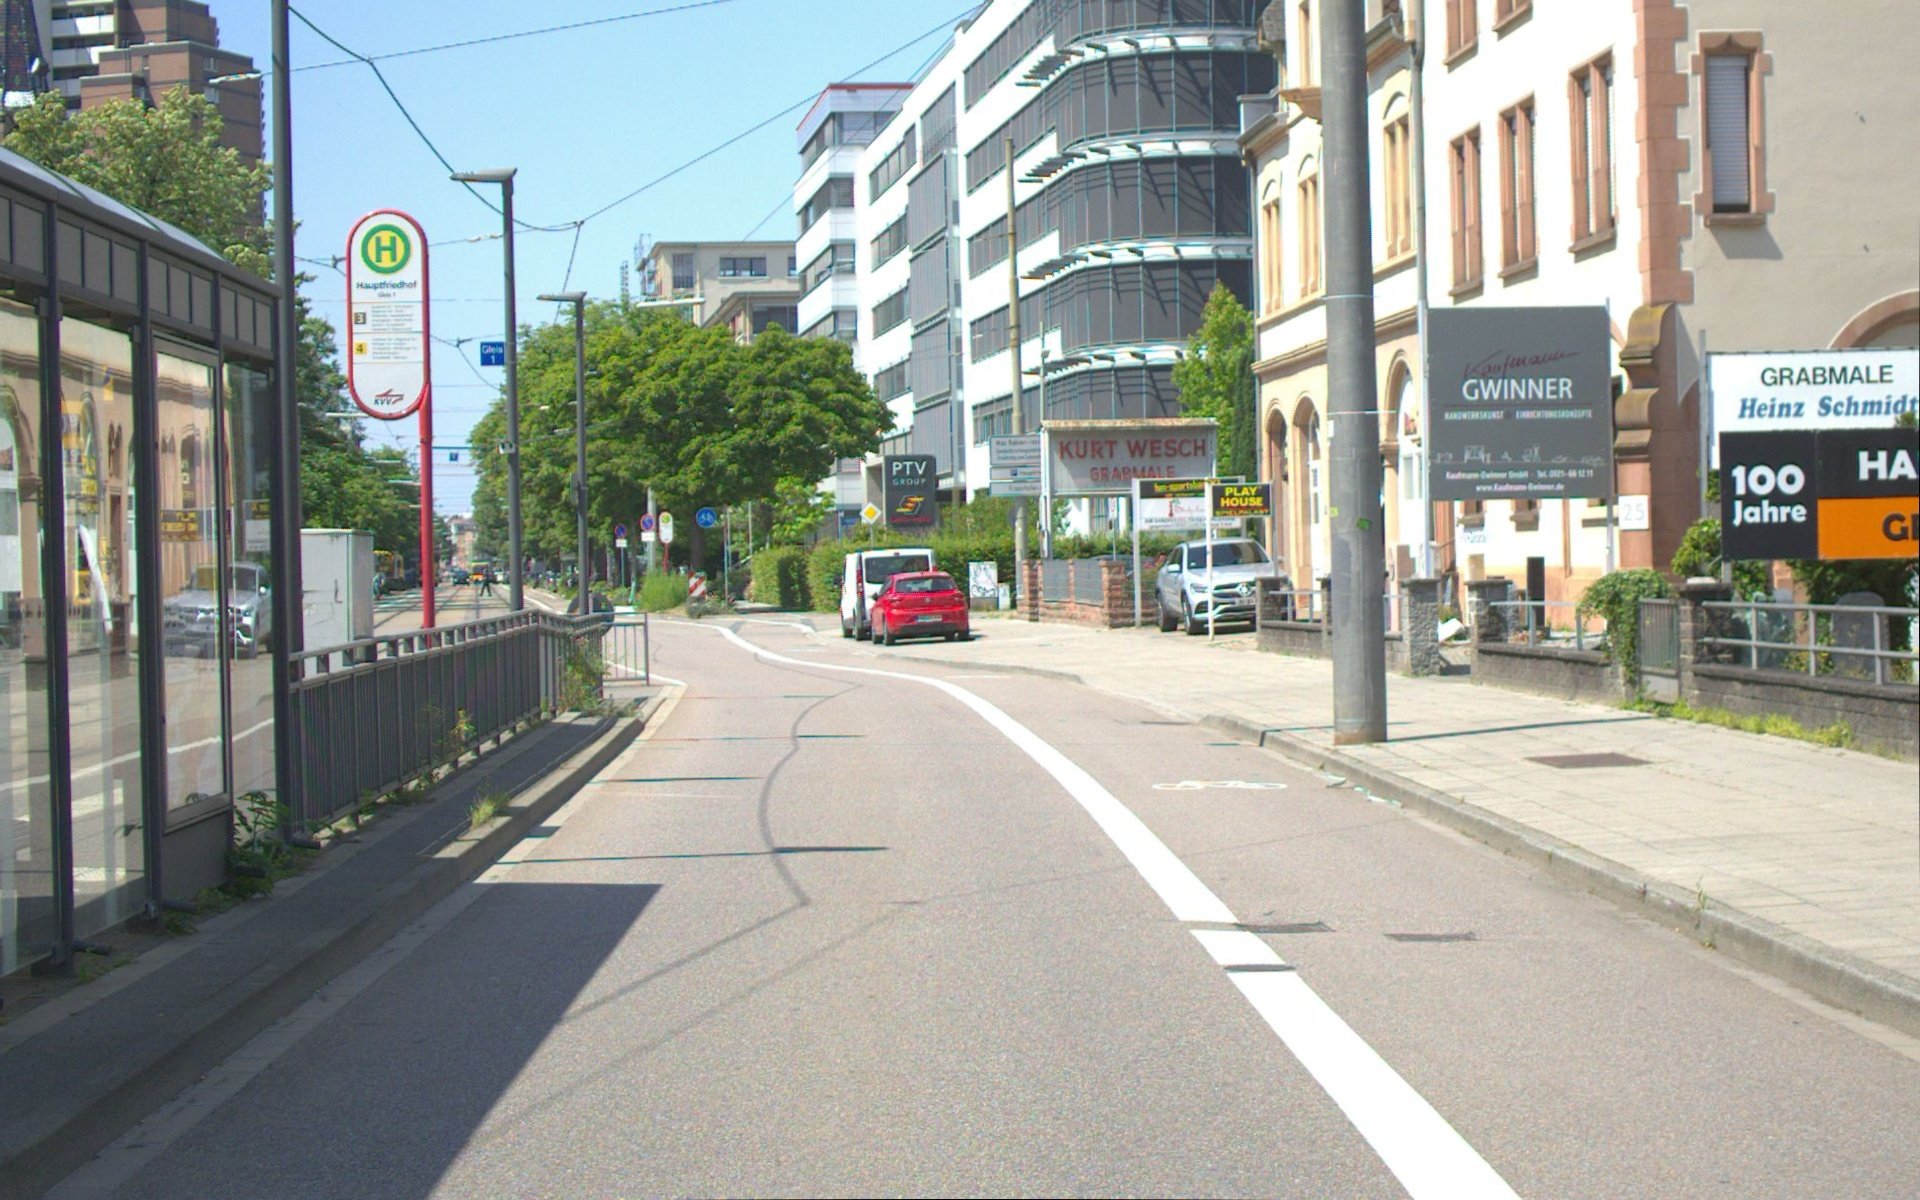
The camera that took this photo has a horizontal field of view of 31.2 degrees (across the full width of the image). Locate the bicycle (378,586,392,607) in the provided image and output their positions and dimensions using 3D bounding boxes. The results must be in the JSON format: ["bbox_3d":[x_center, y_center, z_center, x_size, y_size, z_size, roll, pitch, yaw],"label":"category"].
[{"bbox_3d":[-34.735,-0.210,207.670,0.701,1.200,2.241,-3,1,-8],"label":"bicycle"}]

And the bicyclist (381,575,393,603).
[{"bbox_3d":[-34.616,-0.652,207.595,0.642,1.674,0.815,-1,0,-9],"label":"bicyclist"}]

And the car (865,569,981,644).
[{"bbox_3d":[-0.788,0.114,70.533,1.993,1.437,4.017,-1,1,-6],"label":"car"}]

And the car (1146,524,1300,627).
[{"bbox_3d":[4.568,-0.429,60.444,1.878,1.619,4.640,-4,1,-5],"label":"car"}]

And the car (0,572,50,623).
[{"bbox_3d":[-31.508,-0.057,109.913,1.998,1.584,4.324,-1,1,37],"label":"car"}]

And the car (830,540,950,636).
[{"bbox_3d":[-1.616,-0.286,77.205,1.993,1.985,5.516,-3,1,-8],"label":"car"}]
